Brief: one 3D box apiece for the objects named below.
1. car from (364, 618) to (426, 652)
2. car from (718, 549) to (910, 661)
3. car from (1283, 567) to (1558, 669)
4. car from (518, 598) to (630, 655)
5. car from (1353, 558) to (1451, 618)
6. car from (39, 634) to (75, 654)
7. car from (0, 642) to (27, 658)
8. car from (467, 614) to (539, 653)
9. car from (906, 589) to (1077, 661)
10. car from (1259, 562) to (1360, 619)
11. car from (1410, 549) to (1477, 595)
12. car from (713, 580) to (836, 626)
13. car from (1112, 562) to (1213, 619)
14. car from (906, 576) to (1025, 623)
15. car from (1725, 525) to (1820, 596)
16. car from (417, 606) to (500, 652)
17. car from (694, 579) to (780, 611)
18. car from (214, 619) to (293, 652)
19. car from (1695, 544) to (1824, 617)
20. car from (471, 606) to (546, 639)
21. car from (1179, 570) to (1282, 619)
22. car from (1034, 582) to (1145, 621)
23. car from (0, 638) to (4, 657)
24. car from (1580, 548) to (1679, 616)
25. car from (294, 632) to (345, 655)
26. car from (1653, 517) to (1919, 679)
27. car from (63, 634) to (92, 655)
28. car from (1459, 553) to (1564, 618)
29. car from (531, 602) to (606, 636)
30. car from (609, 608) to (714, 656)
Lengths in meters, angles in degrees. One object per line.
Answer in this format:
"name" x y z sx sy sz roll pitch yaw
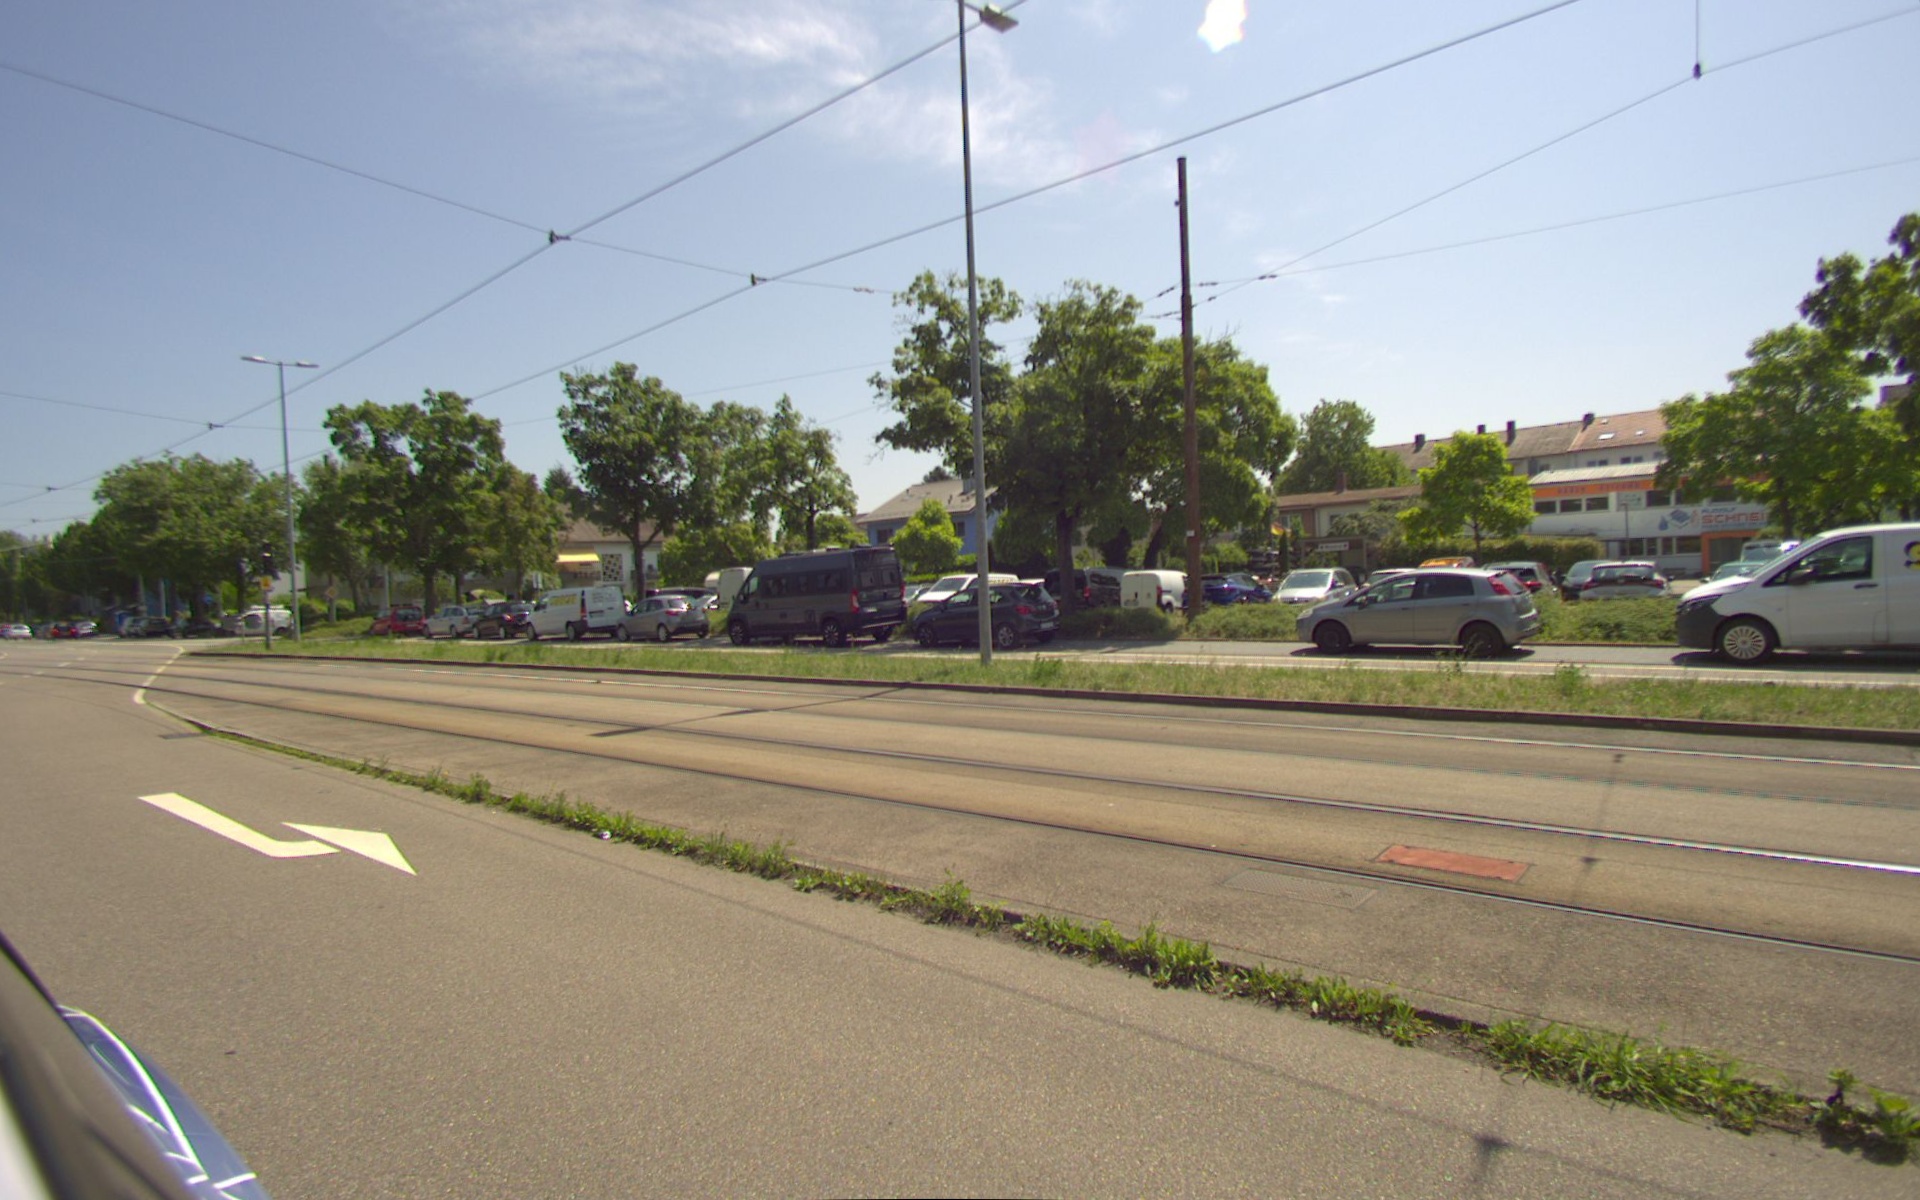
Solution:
"car" -27.151 1.648 48.602 3.423 1.491 1.561 -1 0 43
"car" -4.231 0.151 28.605 5.665 2.859 2.215 -1 0 41
"car" 8.115 0.308 18.045 4.124 1.513 1.633 -1 4 41
"car" -14.425 0.965 37.672 4.816 1.963 1.899 -1 0 42
"car" 12.401 -0.359 28.259 1.827 1.501 4.030 -2 1 33
"car" -72.198 3.493 80.872 3.423 1.491 1.796 -1 0 43
"car" -89.184 4.713 95.243 3.754 1.328 1.757 -1 0 43
"car" -18.599 1.357 41.178 3.261 1.489 1.411 -1 0 41
"car" 0.723 0.560 24.489 3.750 1.589 1.950 -1 0 41
"car" 10.280 -0.314 29.604 1.862 1.499 3.955 -2 1 33
"car" 18.887 -1.077 39.452 1.689 1.665 4.082 -2 0 34
"car" -8.289 0.107 45.675 2.029 1.970 5.363 -1 0 42
"car" 6.842 -0.351 33.947 1.794 1.730 3.951 -2 1 36
"car" 0.283 -0.059 38.988 1.997 1.588 4.867 -2 1 38
"car" 26.295 -1.220 32.704 2.225 2.085 5.056 -1 0 40
"car" -22.083 1.259 44.509 4.494 1.907 1.614 -1 0 41
"car" -15.180 -0.377 69.177 2.145 2.078 5.675 -1 0 38
"car" -46.076 2.292 66.070 4.144 2.005 1.826 -1 0 -35
"car" 17.992 -0.416 22.944 1.908 1.501 3.995 -1 0 33
"car" -28.204 1.392 63.285 1.712 1.888 3.954 -1 0 34
"car" 8.587 -0.174 31.884 1.794 1.417 3.951 -2 -1 36
"car" 4.541 0.020 35.080 2.029 1.152 4.211 -2 1 36
"car" -99.856 4.916 104.259 3.754 1.933 1.757 -1 0 43
"car" 16.447 -0.422 24.930 1.855 1.501 4.100 -1 0 33
"car" -35.946 2.412 56.794 3.423 1.167 1.561 -1 0 43
"car" 12.833 -0.072 13.833 5.342 2.025 1.856 -1 4 42
"car" -85.748 4.307 98.367 3.983 1.867 1.681 -1 0 43
"car" 14.288 -0.397 26.102 2.018 1.501 4.117 -2 1 33
"car" -23.515 1.121 60.925 1.712 1.888 3.954 -1 0 34
"car" -10.060 1.044 33.963 3.607 1.475 1.744 -1 0 42
